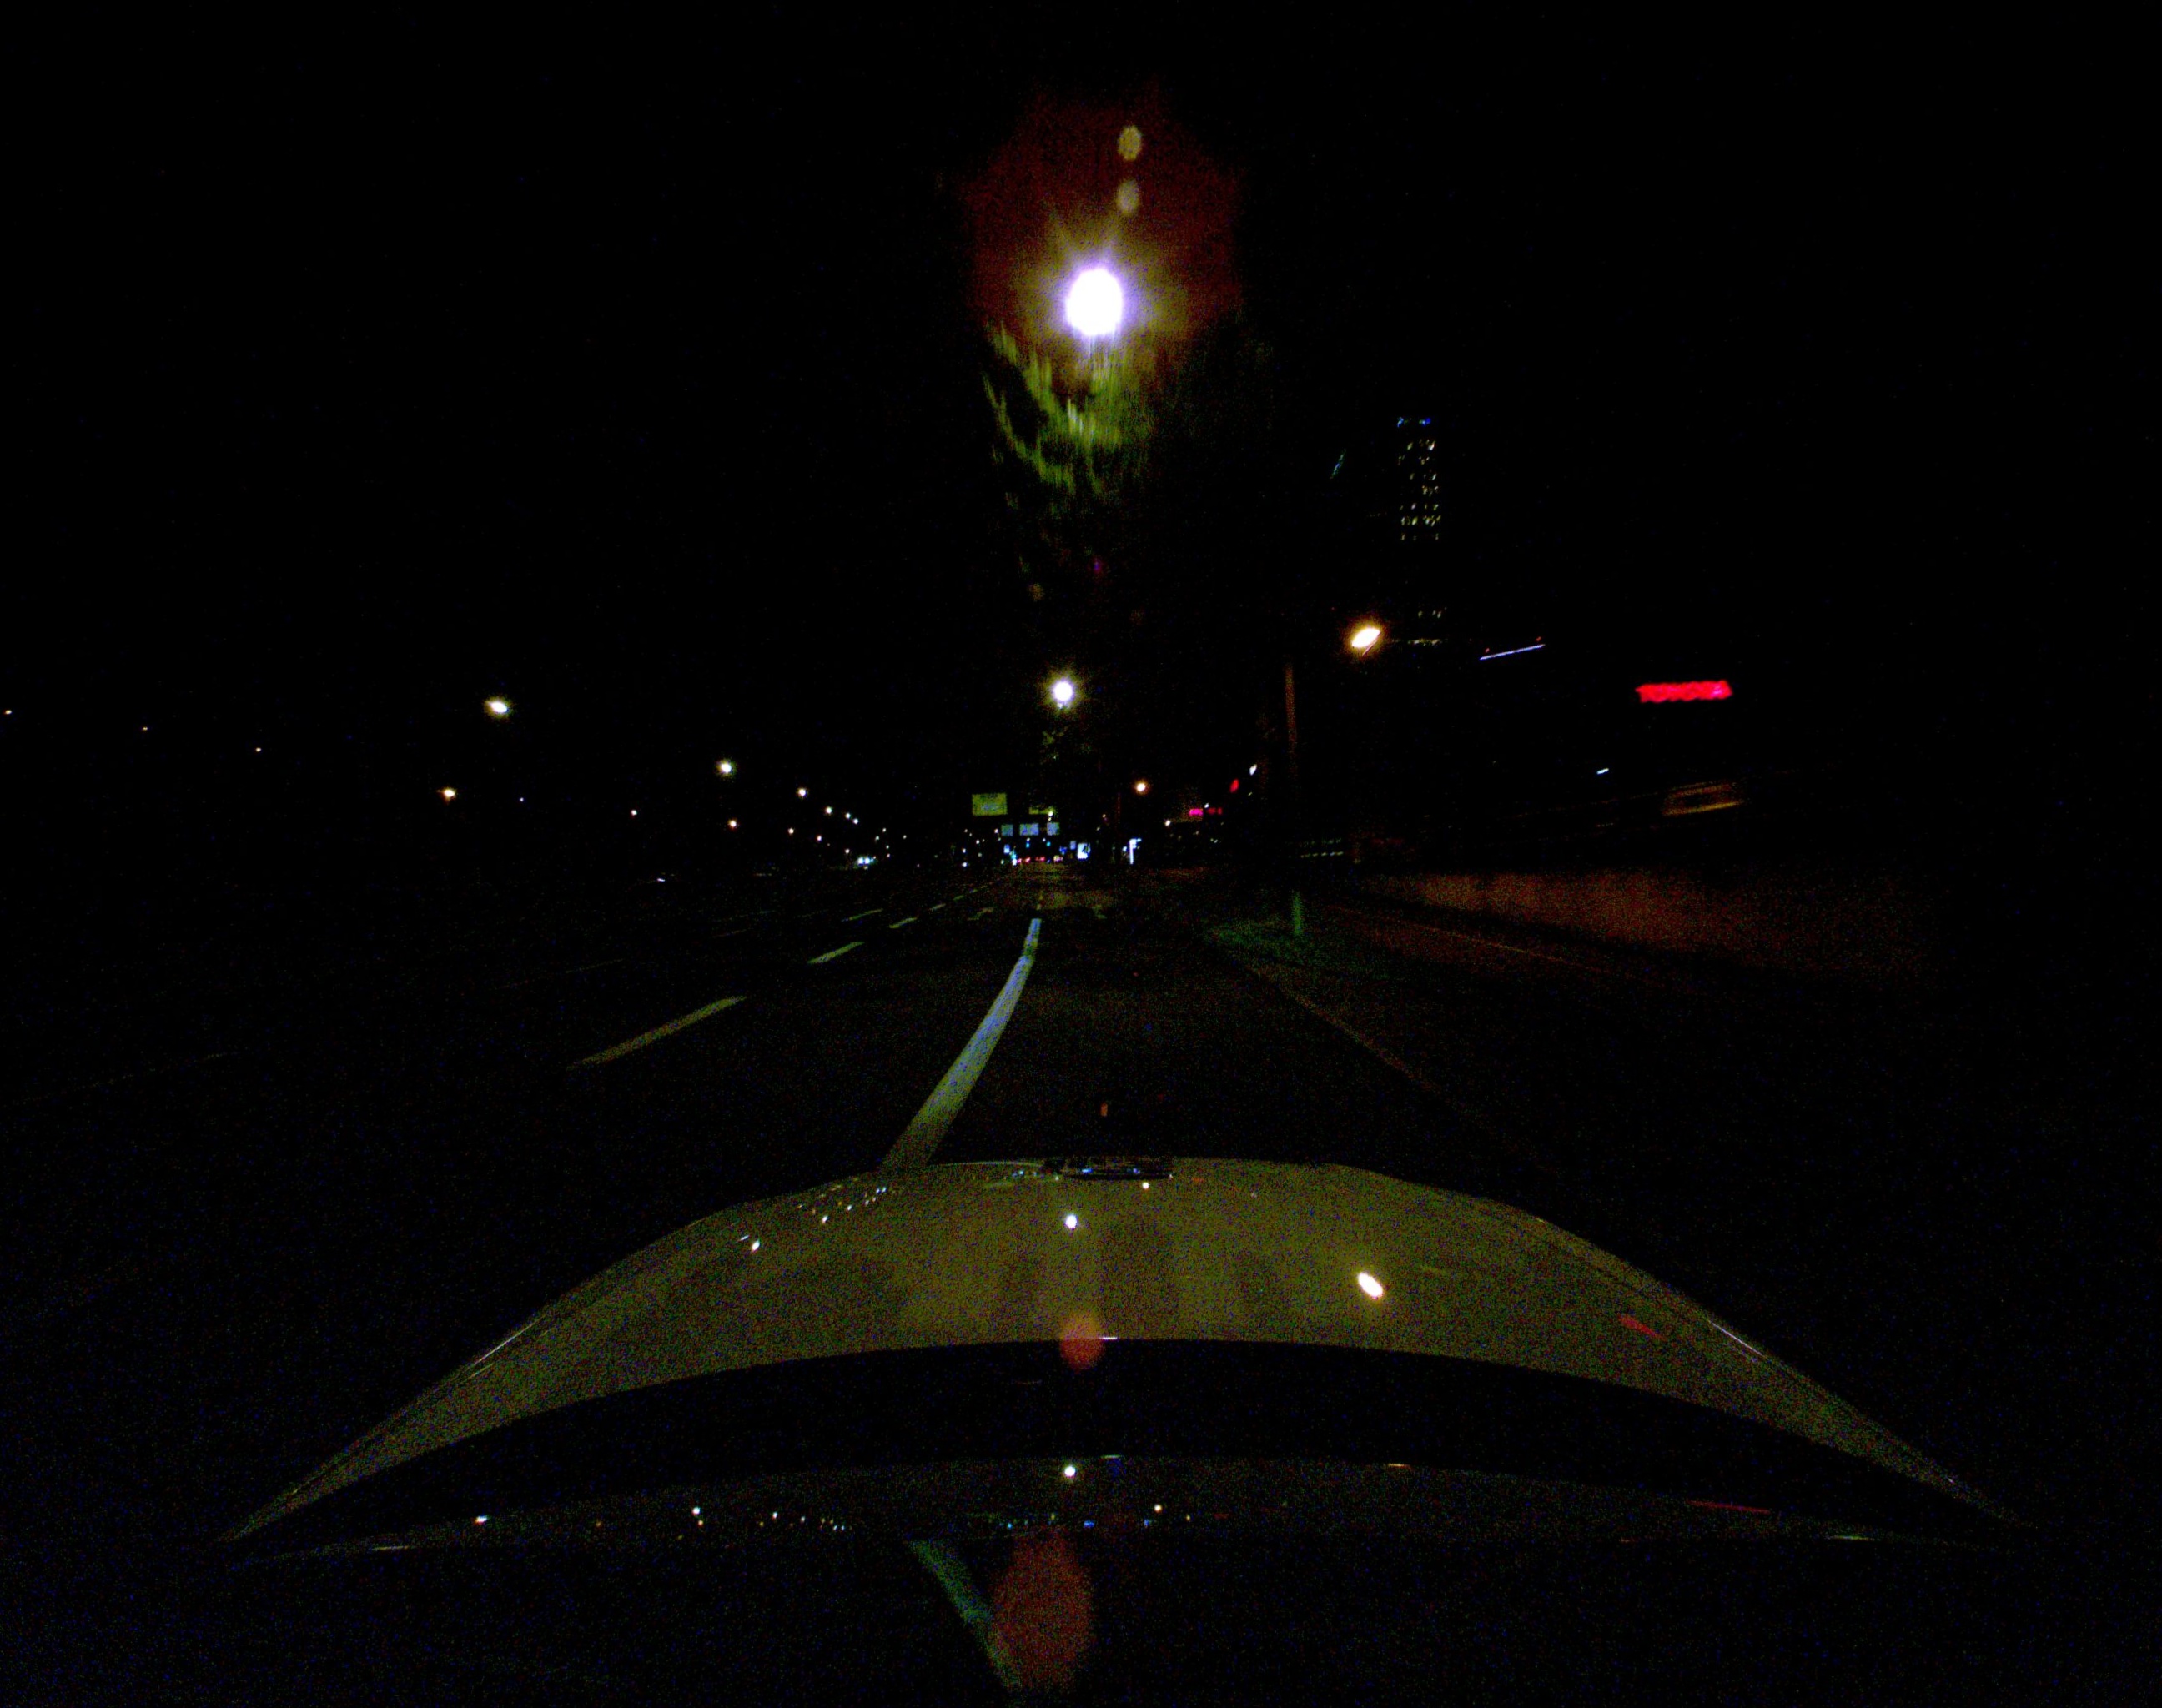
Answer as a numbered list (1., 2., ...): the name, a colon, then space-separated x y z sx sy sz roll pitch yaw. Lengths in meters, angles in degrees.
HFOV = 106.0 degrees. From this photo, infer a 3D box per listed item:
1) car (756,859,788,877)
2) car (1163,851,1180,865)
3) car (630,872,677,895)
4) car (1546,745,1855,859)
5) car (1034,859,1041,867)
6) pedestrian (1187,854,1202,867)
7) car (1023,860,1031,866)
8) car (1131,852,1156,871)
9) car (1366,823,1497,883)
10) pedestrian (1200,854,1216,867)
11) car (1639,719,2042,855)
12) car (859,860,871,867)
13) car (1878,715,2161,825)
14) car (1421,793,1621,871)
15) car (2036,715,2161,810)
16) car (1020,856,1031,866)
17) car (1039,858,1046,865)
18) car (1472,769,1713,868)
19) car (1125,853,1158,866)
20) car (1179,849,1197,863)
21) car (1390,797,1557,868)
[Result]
1. car: -30.665 1.405 80.851 1.796 1.695 3.996 0 -1 -3
2. car: 10.672 0.495 96.361 1.884 1.511 3.640 -1 -2 5
3. car: -33.825 2.327 64.593 1.828 1.685 3.994 0 -2 -4
4. car: 10.597 -0.846 14.135 3.975 1.571 1.737 -4 -2 -1
5. car: -12.122 2.484 226.966 1.989 2.014 3.995 0 -2 -3
6. pedestrian: 9.328 0.543 67.160 0.902 1.038 0.776 -4 -2 41
7. car: -14.546 2.461 221.169 1.988 1.596 3.996 -2 -2 -2
8. car: 6.925 0.823 89.342 1.979 1.945 4.015 -1 -2 15
9. car: 10.746 -0.047 24.900 3.858 1.490 1.722 -3 -3 -33
10. pedestrian: 10.481 0.522 67.269 1.000 1.008 0.767 0 -2 -18
11. car: 10.831 -0.905 11.849 4.107 1.522 1.821 -3 -3 -1
12. car: -46.582 2.137 175.644 1.621 1.481 3.676 0 -2 -1
13. car: 20.054 -1.748 17.321 4.346 1.725 1.750 -5 -2 0
14. car: 10.236 -0.480 19.107 3.718 1.489 1.739 -4 -2 -4
15. car: 25.486 -2.163 18.875 4.569 1.910 1.996 -3 -2 -6
16. car: -11.115 1.417 163.414 1.961 1.711 3.999 0 -2 0
17. car: -11.111 2.128 234.432 1.776 1.728 3.995 0 -2 -3
18. car: 10.344 -0.683 16.644 3.740 1.587 1.778 -5 -2 -4
19. car: 7.033 0.609 94.560 3.620 1.451 1.703 0 -2 -6
20. car: 12.810 0.242 97.743 1.884 1.511 3.640 -1 -2 5
21. car: 10.399 -0.560 21.727 3.558 1.570 1.722 -4 -2 -7
